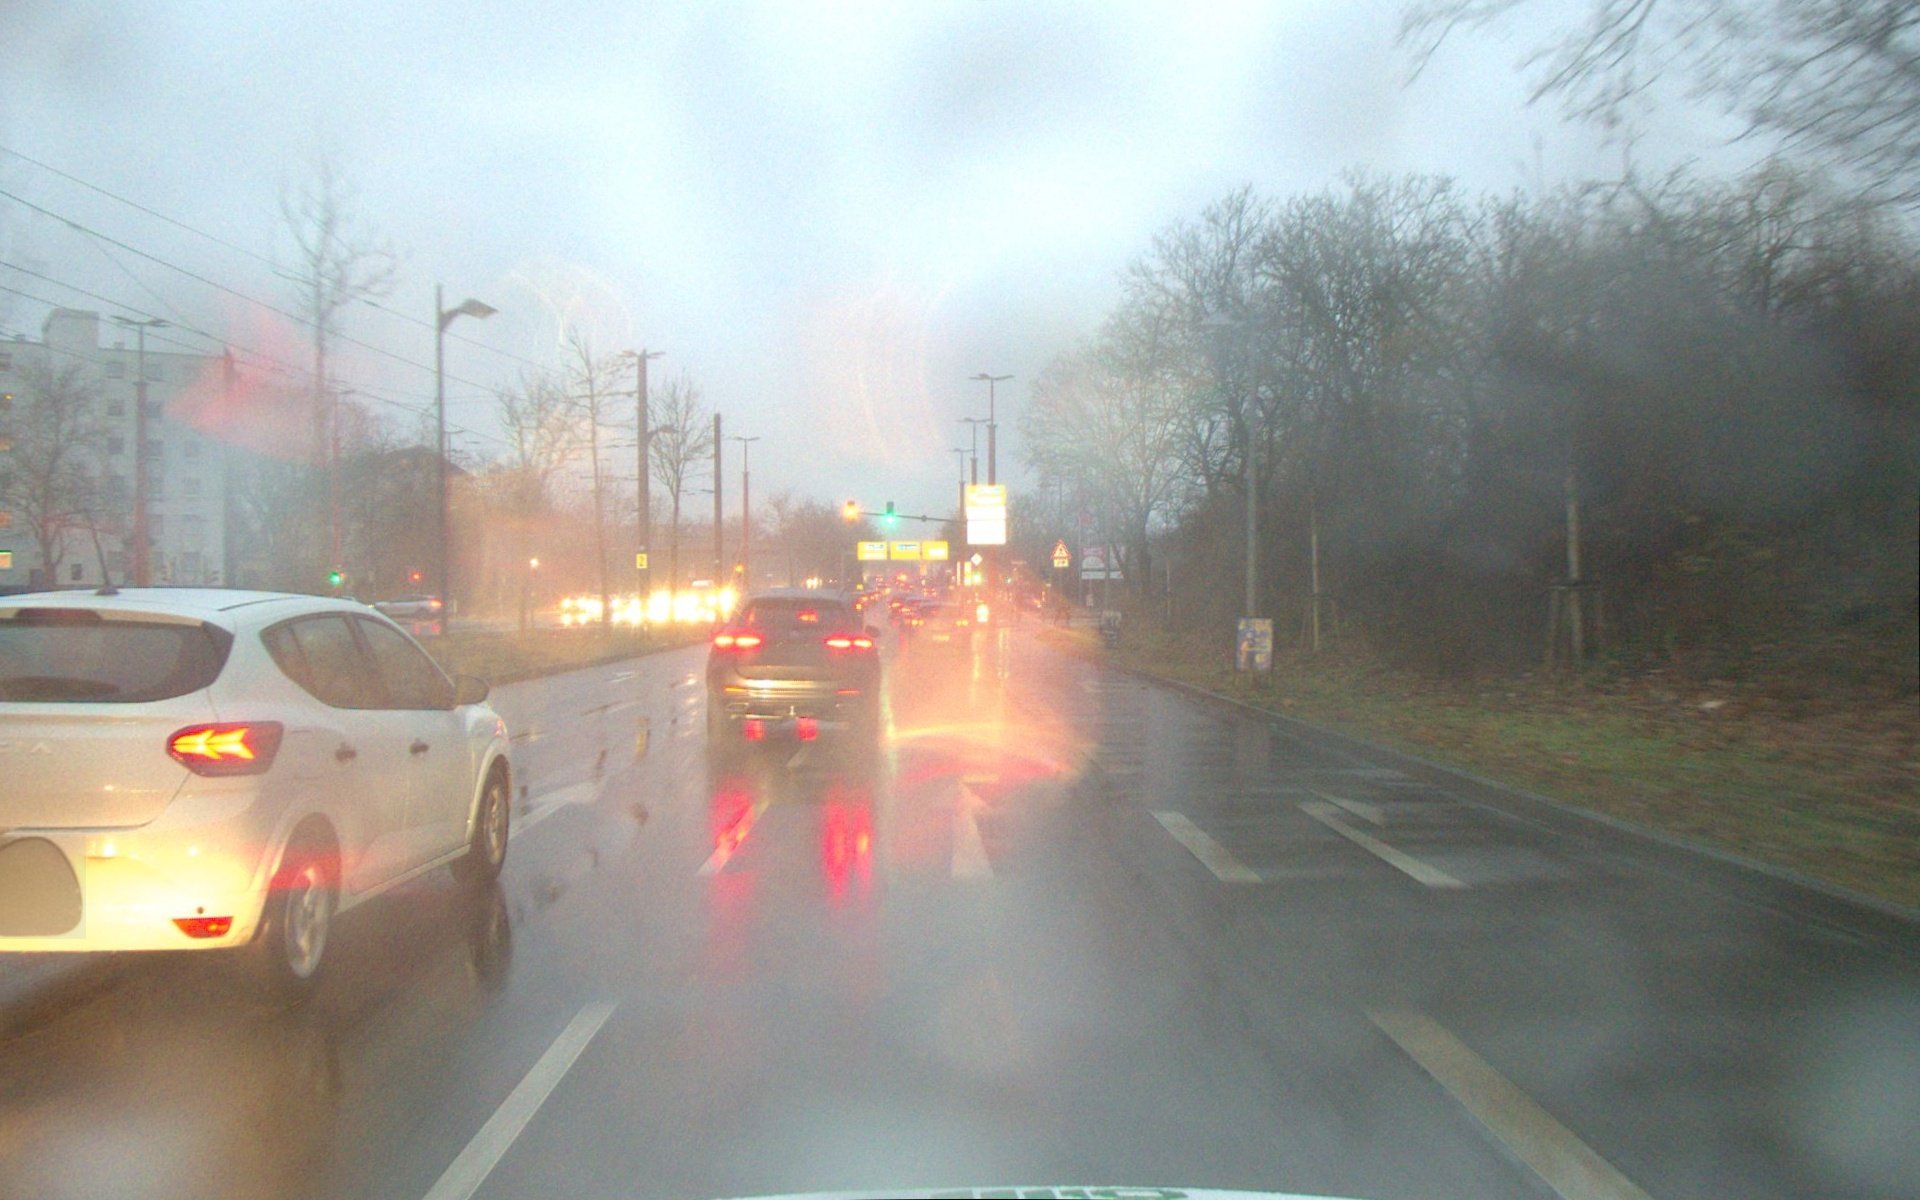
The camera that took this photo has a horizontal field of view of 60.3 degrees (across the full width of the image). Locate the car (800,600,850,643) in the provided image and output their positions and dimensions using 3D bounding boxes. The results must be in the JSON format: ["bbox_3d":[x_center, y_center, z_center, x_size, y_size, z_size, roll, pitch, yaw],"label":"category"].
[{"bbox_3d":[-5.373,0.835,66.362,1.785,1.677,3.999,0,0,-2],"label":"car"}]

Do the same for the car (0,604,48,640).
[{"bbox_3d":[-42.773,0.987,73.010,4.378,1.571,1.834,-1,0,-29],"label":"car"}]

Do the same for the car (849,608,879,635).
[{"bbox_3d":[-5.050,1.096,87.144,1.475,1.362,3.999,0,0,-2],"label":"car"}]

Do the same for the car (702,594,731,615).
[{"bbox_3d":[-18.608,0.332,126.279,1.820,1.609,4.077,0,0,-3],"label":"car"}]

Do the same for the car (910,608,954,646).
[{"bbox_3d":[-1.335,1.242,76.594,1.953,1.691,3.998,1,-1,-2],"label":"car"}]

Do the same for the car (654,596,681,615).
[{"bbox_3d":[-22.325,0.409,126.462,1.619,1.445,3.324,0,0,-3],"label":"car"}]

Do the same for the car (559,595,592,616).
[{"bbox_3d":[-29.018,0.437,124.912,1.586,1.521,4.015,0,0,-2],"label":"car"}]

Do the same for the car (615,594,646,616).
[{"bbox_3d":[-24.777,0.359,124.600,1.735,1.581,3.944,0,0,-3],"label":"car"}]

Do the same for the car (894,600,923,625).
[{"bbox_3d":[-3.206,0.749,104.092,1.785,1.530,3.999,0,0,-2],"label":"car"}]

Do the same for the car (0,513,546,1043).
[{"bbox_3d":[-3.143,0.561,7.304,1.679,1.677,4.146,0,0,-2],"label":"car"}]

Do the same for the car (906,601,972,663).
[{"bbox_3d":[-0.622,0.870,47.322,1.785,1.677,4.465,0,0,-2],"label":"car"}]

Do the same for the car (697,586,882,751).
[{"bbox_3d":[-1.844,0.694,19.124,1.785,1.677,4.465,0,0,-2],"label":"car"}]
